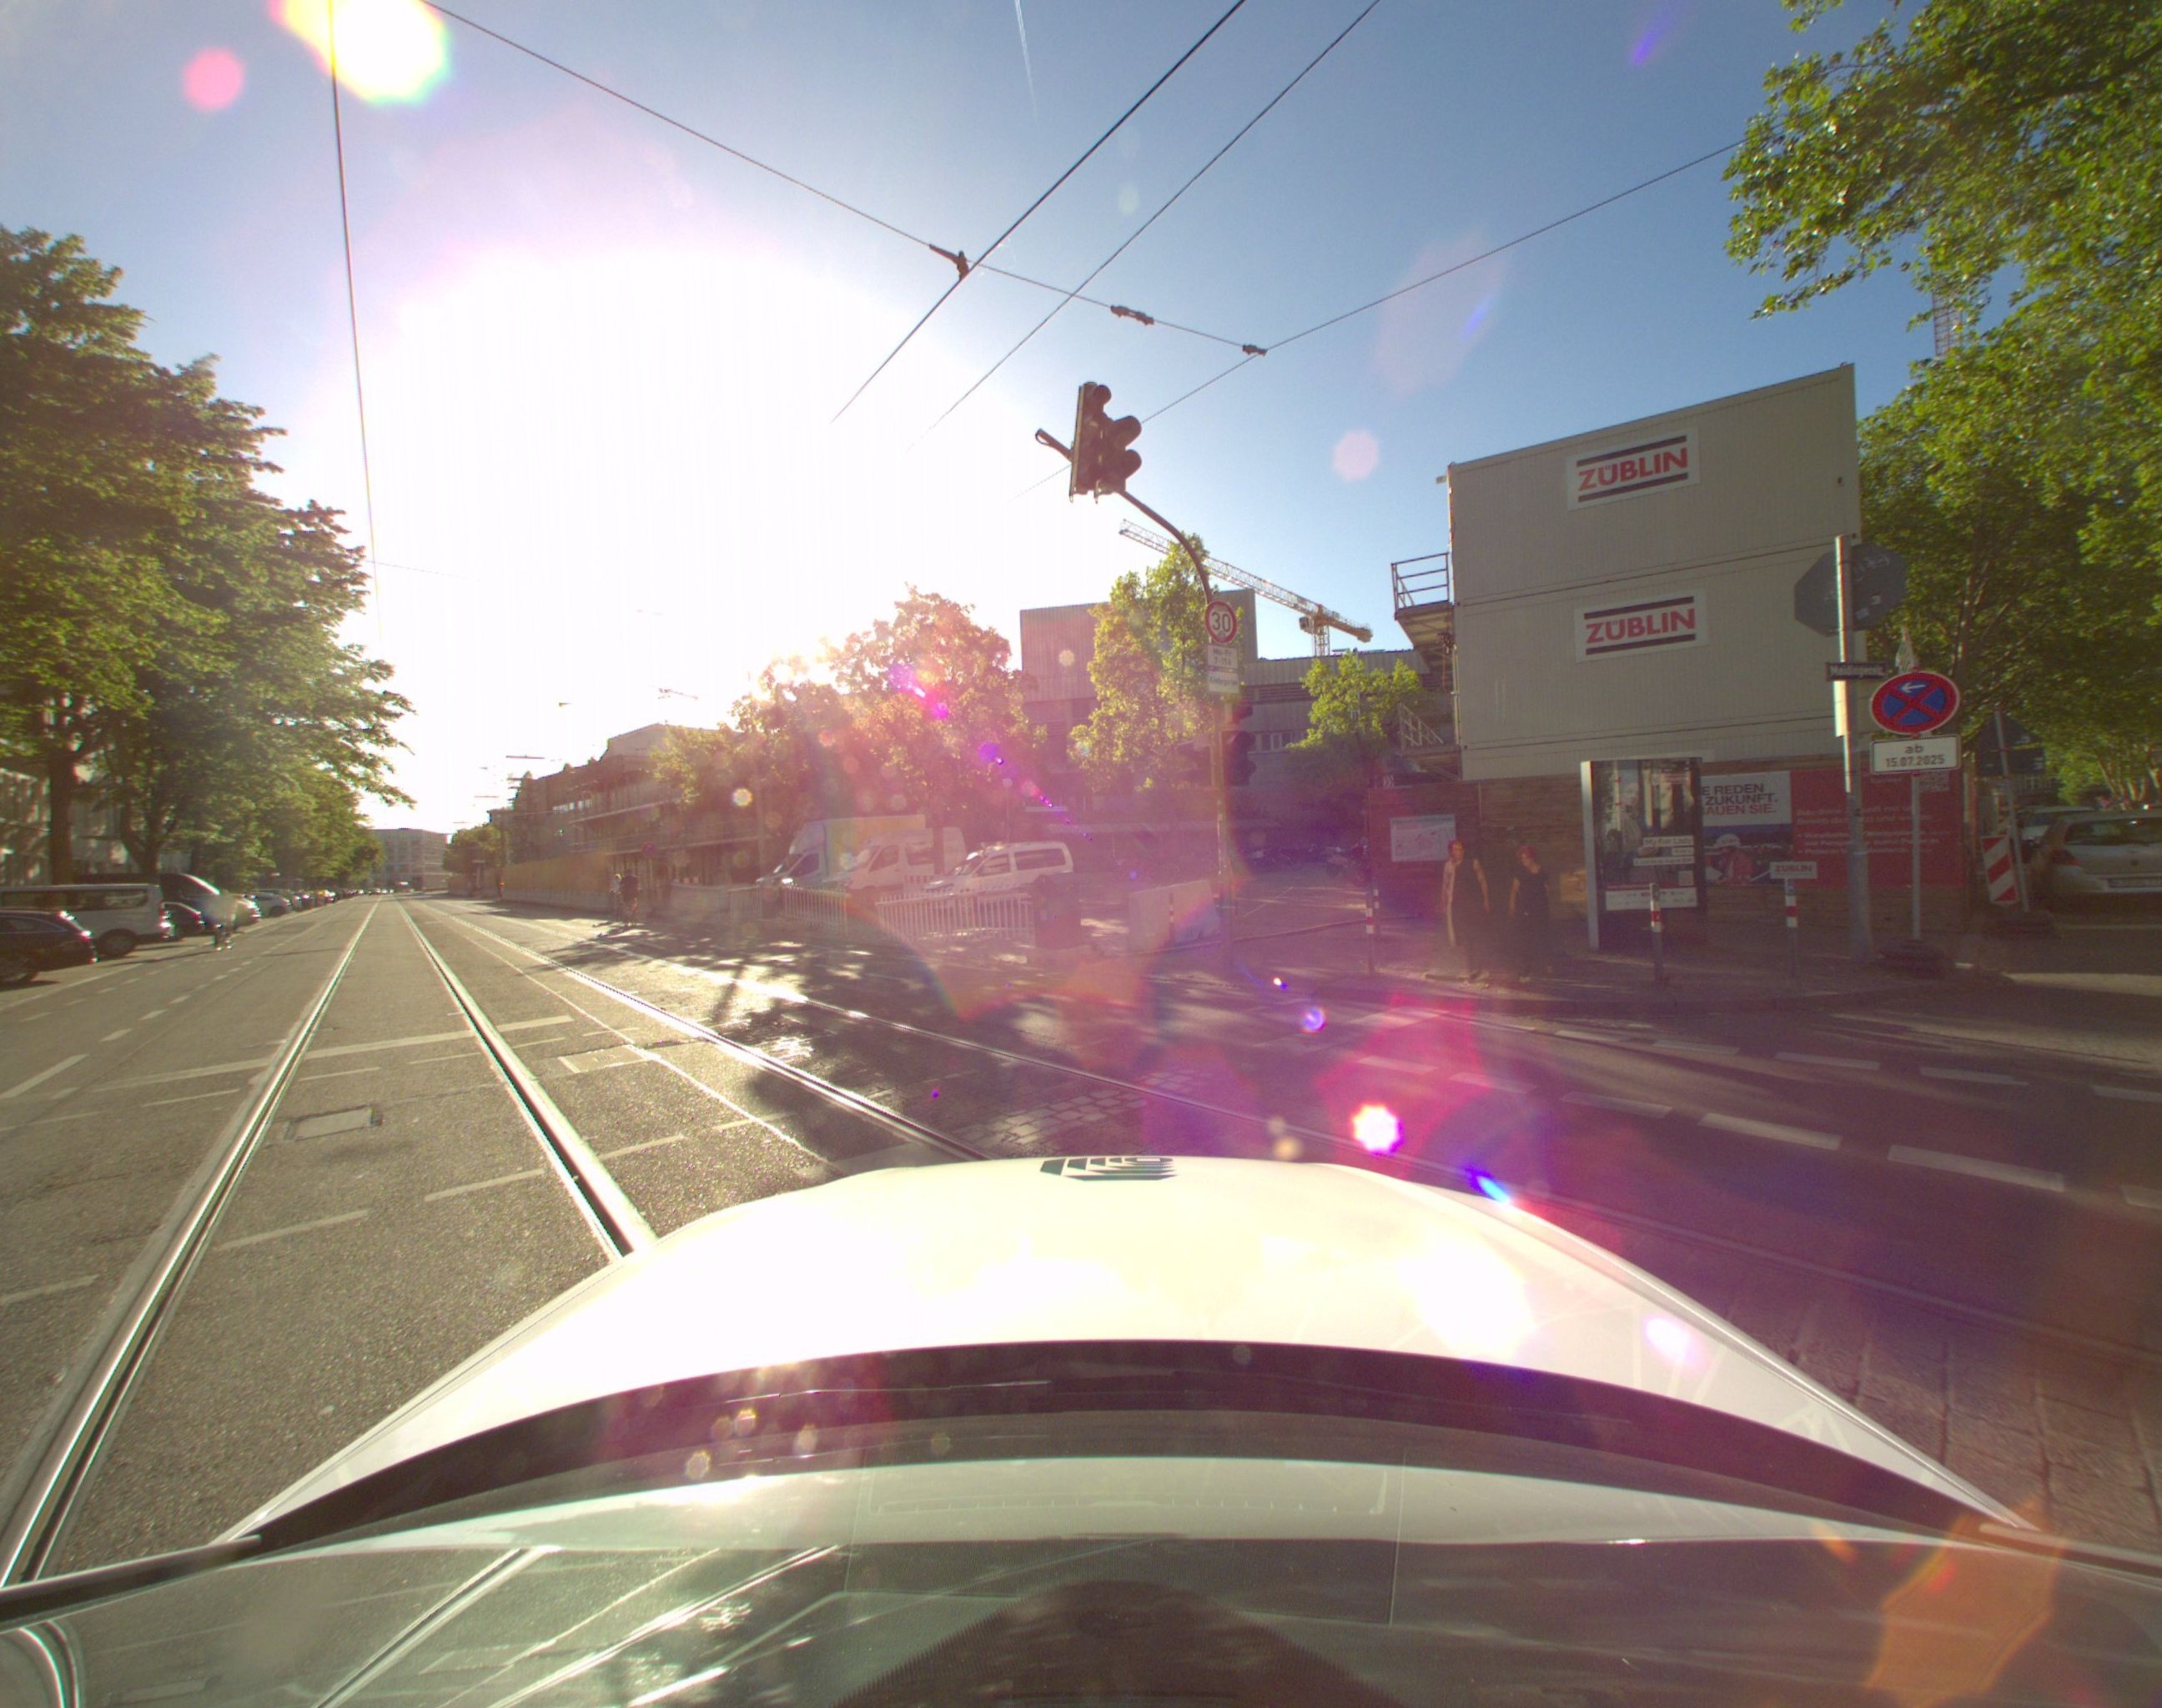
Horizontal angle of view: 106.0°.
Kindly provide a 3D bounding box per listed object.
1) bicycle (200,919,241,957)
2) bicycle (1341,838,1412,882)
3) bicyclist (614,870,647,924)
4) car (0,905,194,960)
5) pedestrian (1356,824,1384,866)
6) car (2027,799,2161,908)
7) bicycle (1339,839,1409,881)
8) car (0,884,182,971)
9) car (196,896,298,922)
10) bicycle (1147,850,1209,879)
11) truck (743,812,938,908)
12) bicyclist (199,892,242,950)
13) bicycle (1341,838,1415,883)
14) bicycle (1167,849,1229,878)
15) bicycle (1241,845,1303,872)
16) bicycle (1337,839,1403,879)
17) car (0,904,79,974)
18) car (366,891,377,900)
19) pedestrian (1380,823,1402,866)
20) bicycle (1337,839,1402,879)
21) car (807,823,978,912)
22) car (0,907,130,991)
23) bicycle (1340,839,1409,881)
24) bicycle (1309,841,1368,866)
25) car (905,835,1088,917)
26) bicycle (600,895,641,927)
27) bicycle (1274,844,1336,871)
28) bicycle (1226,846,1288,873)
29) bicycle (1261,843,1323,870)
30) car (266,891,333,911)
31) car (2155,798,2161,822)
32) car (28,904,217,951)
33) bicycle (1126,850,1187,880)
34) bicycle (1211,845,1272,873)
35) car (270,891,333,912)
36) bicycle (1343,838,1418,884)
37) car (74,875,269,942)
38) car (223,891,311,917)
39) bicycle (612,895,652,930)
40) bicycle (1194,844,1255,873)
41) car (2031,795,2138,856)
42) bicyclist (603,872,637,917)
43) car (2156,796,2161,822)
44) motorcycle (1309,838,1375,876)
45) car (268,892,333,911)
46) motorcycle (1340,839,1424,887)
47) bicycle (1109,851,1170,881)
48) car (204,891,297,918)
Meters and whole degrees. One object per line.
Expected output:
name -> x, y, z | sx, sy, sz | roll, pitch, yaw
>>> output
bicycle -> -25.015, 2.433, 23.692 | 0.615, 0.953, 1.861 | -3, 0, -42
bicycle -> 9.314, 0.198, 25.720 | 2.029, 1.257, 0.473 | -3, 0, 12
bicyclist -> -14.345, 1.357, 25.934 | 0.686, 1.658, 0.802 | -3, -1, -41
car -> -29.683, 2.303, 24.406 | 1.805, 1.420, 4.125 | -3, -3, 41
pedestrian -> 14.096, -0.442, 39.753 | 0.942, 2.013, 0.795 | -3, 0, -30
car -> 16.606, -0.070, 13.059 | 4.023, 1.494, 1.628 | -3, -3, -43
bicycle -> 9.424, 0.193, 26.223 | 2.029, 1.257, 0.473 | -3, 0, 12
car -> -27.710, 1.959, 21.196 | 2.013, 1.991, 5.380 | -3, 0, 26
car -> -52.715, 3.458, 51.567 | 1.805, 1.453, 4.125 | -2, -3, 30
bicycle -> 4.088, 0.456, 34.699 | 0.824, 1.147, 3.058 | -3, 0, -31
truck -> -9.679, 0.138, 33.385 | 7.159, 3.347, 2.362 | -5, 1, -41
bicyclist -> -25.079, 1.931, 23.740 | 0.731, 1.572, 1.016 | -3, 0, -42
bicycle -> 9.187, 0.204, 25.245 | 2.029, 1.257, 0.473 | -3, 0, 12
bicycle -> 5.032, 0.425, 35.226 | 0.824, 1.147, 3.058 | -3, 0, -31
bicycle -> 8.809, 0.235, 37.652 | 0.824, 1.147, 3.058 | -3, 0, -31
bicycle -> 9.877, 0.173, 27.917 | 2.029, 1.257, 0.545 | -3, 0, 12
car -> -26.265, 2.080, 18.983 | 1.668, 1.503, 3.345 | 0, 1, 26
car -> -156.568, 9.141, 179.726 | 1.695, 1.838, 3.824 | 1, -3, -44
pedestrian -> 14.860, -0.461, 39.065 | 0.793, 2.013, 1.037 | -3, 0, 26
bicycle -> 10.066, 0.166, 28.487 | 2.029, 1.257, 0.545 | -3, 0, 12
car -> -6.505, 0.398, 28.666 | 5.413, 2.530, 1.975 | -7, 3, -44
car -> -21.973, 1.949, 15.542 | 1.667, 1.491, 4.672 | -3, -1, 27
bicycle -> 9.620, 0.185, 26.745 | 2.029, 1.257, 0.545 | -3, 0, 12
bicycle -> 13.062, -0.011, 41.441 | 0.824, 1.147, 3.058 | -3, 0, -31
car -> -2.432, 0.586, 24.159 | 4.970, 1.892, 1.989 | -5, 2, -36
bicycle -> -17.441, 2.130, 30.830 | 0.900, 1.093, 2.401 | -1, -1, -40
bicycle -> 10.629, 0.174, 38.785 | 0.824, 1.147, 3.058 | -3, 0, -31
bicycle -> 7.978, 0.262, 37.131 | 0.824, 1.147, 3.058 | -3, 0, -31
bicycle -> 9.862, 0.158, 38.237 | 0.824, 1.147, 3.058 | -3, 0, -31
car -> -73.385, 4.410, 76.551 | 1.805, 1.754, 4.124 | -2, -3, 28
car -> 88.641, -3.639, 64.324 | 1.738, 1.898, 4.422 | -3, 0, -41
car -> -33.951, 2.565, 28.974 | 1.805, 1.420, 4.125 | -3, -3, 33
bicycle -> 3.123, 0.465, 34.061 | 0.824, 1.147, 3.058 | -3, 0, -31
bicycle -> 7.195, 0.260, 36.686 | 0.824, 1.147, 3.058 | -3, 0, -31
car -> -77.607, 4.704, 81.097 | 1.805, 2.055, 4.124 | -2, -3, 28
bicycle -> 9.098, 0.207, 24.758 | 2.029, 1.257, 0.473 | -3, 0, 12
car -> -37.689, 2.195, 34.027 | 5.227, 2.578, 2.218 | 1, -3, -44
car -> -58.901, 3.595, 58.996 | 1.805, 1.754, 4.124 | -2, -3, 28
bicycle -> -14.272, 1.847, 25.877 | 0.686, 1.018, 1.898 | -3, 0, -41
bicycle -> 6.321, 0.219, 36.115 | 0.824, 1.147, 3.058 | -3, 0, -31
car -> 28.990, -0.831, 23.639 | 4.023, 1.562, 1.650 | -3, 0, -43
bicyclist -> -17.464, 1.505, 30.854 | 0.900, 1.640, 1.087 | -1, -1, -40
car -> 81.368, -3.407, 58.717 | 1.738, 1.898, 4.422 | -3, 0, -41
motorcycle -> 9.537, 0.112, 29.773 | 2.190, 1.257, 0.545 | -3, 0, 12
car -> -75.638, 4.600, 78.965 | 1.805, 1.754, 4.124 | -2, -3, 28
motorcycle -> 8.735, 0.253, 23.714 | 2.190, 1.257, 0.545 | -3, 0, 12
bicycle -> 2.352, 0.514, 33.424 | 0.824, 1.147, 3.058 | -3, 0, -31
car -> -57.729, 3.521, 56.686 | 1.805, 1.754, 4.124 | -2, -3, 28
